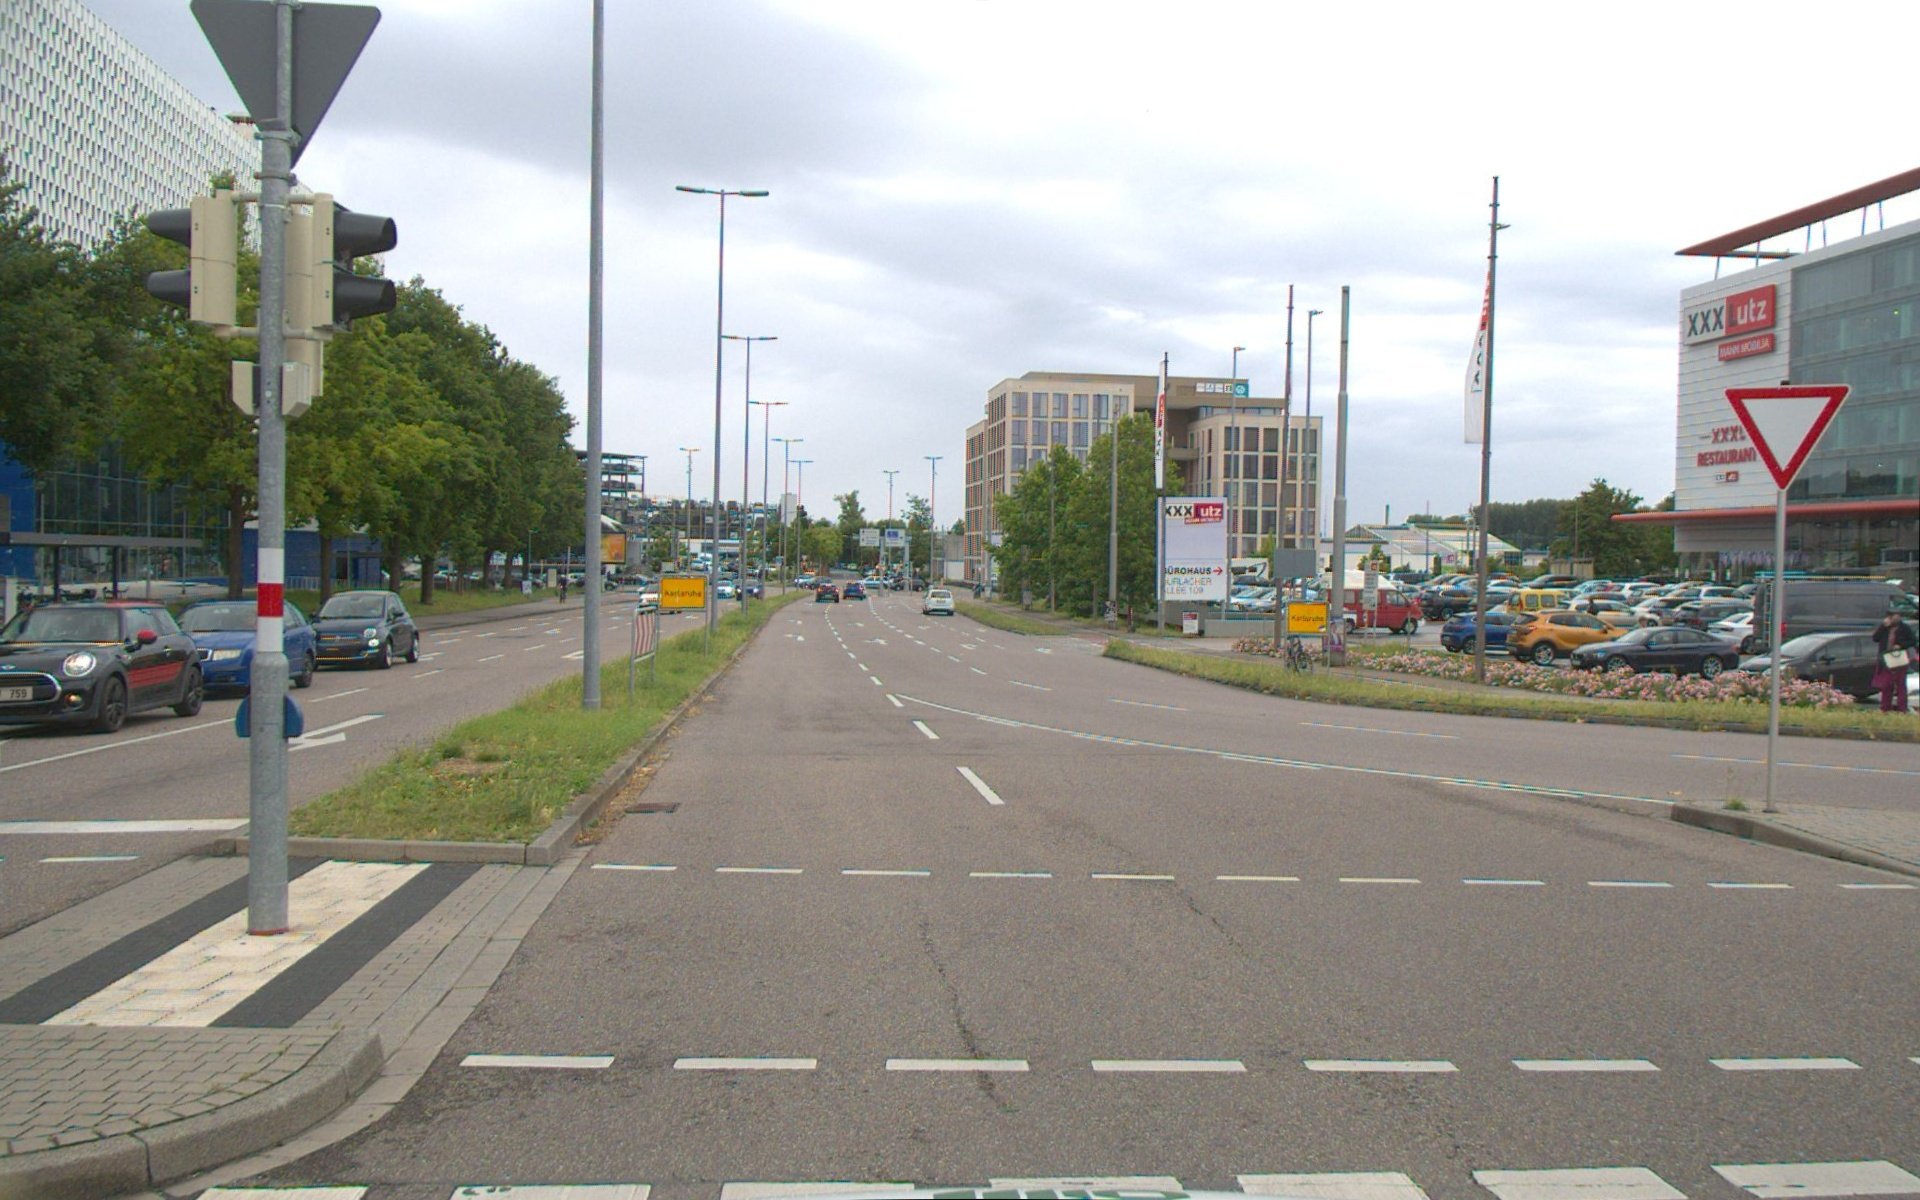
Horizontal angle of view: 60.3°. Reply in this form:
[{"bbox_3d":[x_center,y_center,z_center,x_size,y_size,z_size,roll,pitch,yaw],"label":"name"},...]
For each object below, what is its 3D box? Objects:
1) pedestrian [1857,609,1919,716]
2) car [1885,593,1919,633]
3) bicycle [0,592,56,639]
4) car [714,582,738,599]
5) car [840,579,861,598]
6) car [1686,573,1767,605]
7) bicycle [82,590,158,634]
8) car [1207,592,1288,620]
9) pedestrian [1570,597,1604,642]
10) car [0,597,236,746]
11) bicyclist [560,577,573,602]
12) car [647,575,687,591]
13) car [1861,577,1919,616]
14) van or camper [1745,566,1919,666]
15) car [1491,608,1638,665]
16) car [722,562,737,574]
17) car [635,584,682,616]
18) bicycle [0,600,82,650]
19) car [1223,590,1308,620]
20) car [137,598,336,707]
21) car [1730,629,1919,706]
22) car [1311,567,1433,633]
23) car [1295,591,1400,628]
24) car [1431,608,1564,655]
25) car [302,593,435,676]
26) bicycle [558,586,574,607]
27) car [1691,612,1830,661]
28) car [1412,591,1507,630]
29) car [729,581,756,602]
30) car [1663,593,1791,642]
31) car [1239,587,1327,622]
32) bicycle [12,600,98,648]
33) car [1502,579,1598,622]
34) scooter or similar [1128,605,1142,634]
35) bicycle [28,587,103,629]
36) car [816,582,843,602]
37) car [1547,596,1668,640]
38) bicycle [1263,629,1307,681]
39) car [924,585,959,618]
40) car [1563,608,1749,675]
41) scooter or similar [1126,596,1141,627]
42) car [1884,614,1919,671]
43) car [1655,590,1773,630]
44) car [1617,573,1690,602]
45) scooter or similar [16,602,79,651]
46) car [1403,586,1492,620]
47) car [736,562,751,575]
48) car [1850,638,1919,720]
[{"bbox_3d":[14.306,0.955,25.471,0.699,1.625,0.784,0,-2,18],"label":"pedestrian"},{"bbox_3d":[42.079,0.584,70.904,3.911,1.683,1.832,1,0,-7],"label":"car"},{"bbox_3d":[-25.542,0.394,44.553,1.976,1.177,0.593,3,0,-6],"label":"bicycle"},{"bbox_3d":[-20.136,-0.814,142.419,1.829,1.479,4.164,-1,1,-5],"label":"car"},{"bbox_3d":[-9.733,-1.017,146.761,1.799,1.540,3.997,2,1,-4],"label":"car"},{"bbox_3d":[40.919,-0.612,88.338,3.496,1.615,1.739,1,1,-1],"label":"car"},{"bbox_3d":[-24.694,0.360,48.643,1.973,1.177,0.594,3,1,9],"label":"bicycle"},{"bbox_3d":[15.418,0.311,88.836,3.976,1.373,1.762,1,3,-6],"label":"car"},{"bbox_3d":[25.485,0.790,67.241,0.921,1.749,0.884,1,3,-7],"label":"pedestrian"},{"bbox_3d":[-9.980,0.741,19.339,1.630,1.529,4.059,0,0,-7],"label":"car"},{"bbox_3d":[-25.271,-0.687,106.268,0.628,1.604,0.999,2,1,-6],"label":"bicyclist"},{"bbox_3d":[-33.512,-1.946,189.200,4.355,1.741,1.995,1,2,-12],"label":"car"},{"bbox_3d":[48.859,-0.165,85.251,3.912,1.854,1.800,1,3,-8],"label":"car"},{"bbox_3d":[27.988,0.479,52.374,5.267,3.036,1.992,1,0,3],"label":"van or camper"},{"bbox_3d":[18.793,1.113,51.494,3.906,1.672,1.815,1,0,-1],"label":"car"},{"bbox_3d":[-34.697,-4.812,248.960,1.739,1.735,3.918,1,3,1],"label":"car"},{"bbox_3d":[-15.412,-0.028,84.777,1.893,1.545,4.178,-2,0,-4],"label":"car"},{"bbox_3d":[-23.630,0.647,42.376,1.857,1.177,0.593,3,0,-6],"label":"bicycle"},{"bbox_3d":[15.817,0.241,85.650,3.976,1.373,1.833,1,3,-6],"label":"car"},{"bbox_3d":[-10.969,0.730,25.376,1.571,1.470,4.138,-1,0,-6],"label":"car"},{"bbox_3d":[20.510,1.564,38.846,4.012,1.610,1.768,1,2,-5],"label":"car"},{"bbox_3d":[17.760,-0.007,71.417,4.629,2.623,2.169,1,3,-4],"label":"car"},{"bbox_3d":[17.807,0.426,76.167,4.288,1.486,1.960,1,3,-4],"label":"car"},{"bbox_3d":[18.277,1.065,56.364,3.908,1.480,1.813,1,0,-5],"label":"car"},{"bbox_3d":[-11.802,0.642,33.240,1.571,1.524,4.032,-1,0,-6],"label":"car"},{"bbox_3d":[-25.305,-0.258,106.253,0.630,1.272,2.054,2,1,-6],"label":"bicycle"},{"bbox_3d":[27.738,1.248,57.392,3.908,1.579,1.862,1,0,-4],"label":"car"},{"bbox_3d":[25.527,0.518,84.581,4.226,1.773,1.888,1,3,-3],"label":"car"},{"bbox_3d":[-16.500,-0.652,125.773,1.894,1.512,4.434,-1,1,-6],"label":"car"},{"bbox_3d":[27.842,0.618,60.094,3.817,1.682,1.829,-1,2,-7],"label":"car"},{"bbox_3d":[16.268,0.211,83.378,3.974,1.567,1.763,1,3,-4],"label":"car"},{"bbox_3d":[-23.760,0.628,43.447,1.857,1.177,0.593,3,0,-6],"label":"bicycle"},{"bbox_3d":[26.590,0.021,74.630,3.662,1.798,1.733,1,3,-4],"label":"car"},{"bbox_3d":[7.619,0.839,71.964,0.363,1.211,1.247,0,1,-5],"label":"scooter or similar"},{"bbox_3d":[-26.125,0.230,48.315,1.774,1.101,0.593,3,0,-6],"label":"bicycle"},{"bbox_3d":[-10.095,-0.637,127.414,1.949,1.453,4.236,1,0,-6],"label":"car"},{"bbox_3d":[27.066,0.733,69.200,4.324,1.611,1.833,1,3,-4],"label":"car"},{"bbox_3d":[7.045,1.187,35.888,0.649,1.067,1.692,0,0,1],"label":"bicycle"},{"bbox_3d":[-1.157,0.088,101.271,1.954,1.782,4.179,1,3,-3],"label":"car"},{"bbox_3d":[19.410,1.147,46.243,4.436,1.610,1.769,1,4,-3],"label":"car"},{"bbox_3d":[8.390,0.544,80.071,0.636,1.446,1.820,0,0,4],"label":"scooter or similar"},{"bbox_3d":[28.843,1.226,47.161,3.905,1.583,1.948,1,0,0],"label":"car"},{"bbox_3d":[31.877,0.432,69.989,4.155,1.494,1.739,1,3,-4],"label":"car"},{"bbox_3d":[40.152,-0.737,95.829,3.496,1.615,1.739,1,1,-1],"label":"car"},{"bbox_3d":[-22.522,0.656,40.845,0.415,1.168,1.347,3,0,26],"label":"scooter or similar"},{"bbox_3d":[25.630,0.155,87.081,4.088,1.692,1.832,1,1,-3],"label":"car"},{"bbox_3d":[-32.561,-4.750,249.008,1.739,1.735,3.918,1,3,1],"label":"car"},{"bbox_3d":[20.612,1.602,33.657,4.028,1.470,1.874,1,3,-7],"label":"car"}]
